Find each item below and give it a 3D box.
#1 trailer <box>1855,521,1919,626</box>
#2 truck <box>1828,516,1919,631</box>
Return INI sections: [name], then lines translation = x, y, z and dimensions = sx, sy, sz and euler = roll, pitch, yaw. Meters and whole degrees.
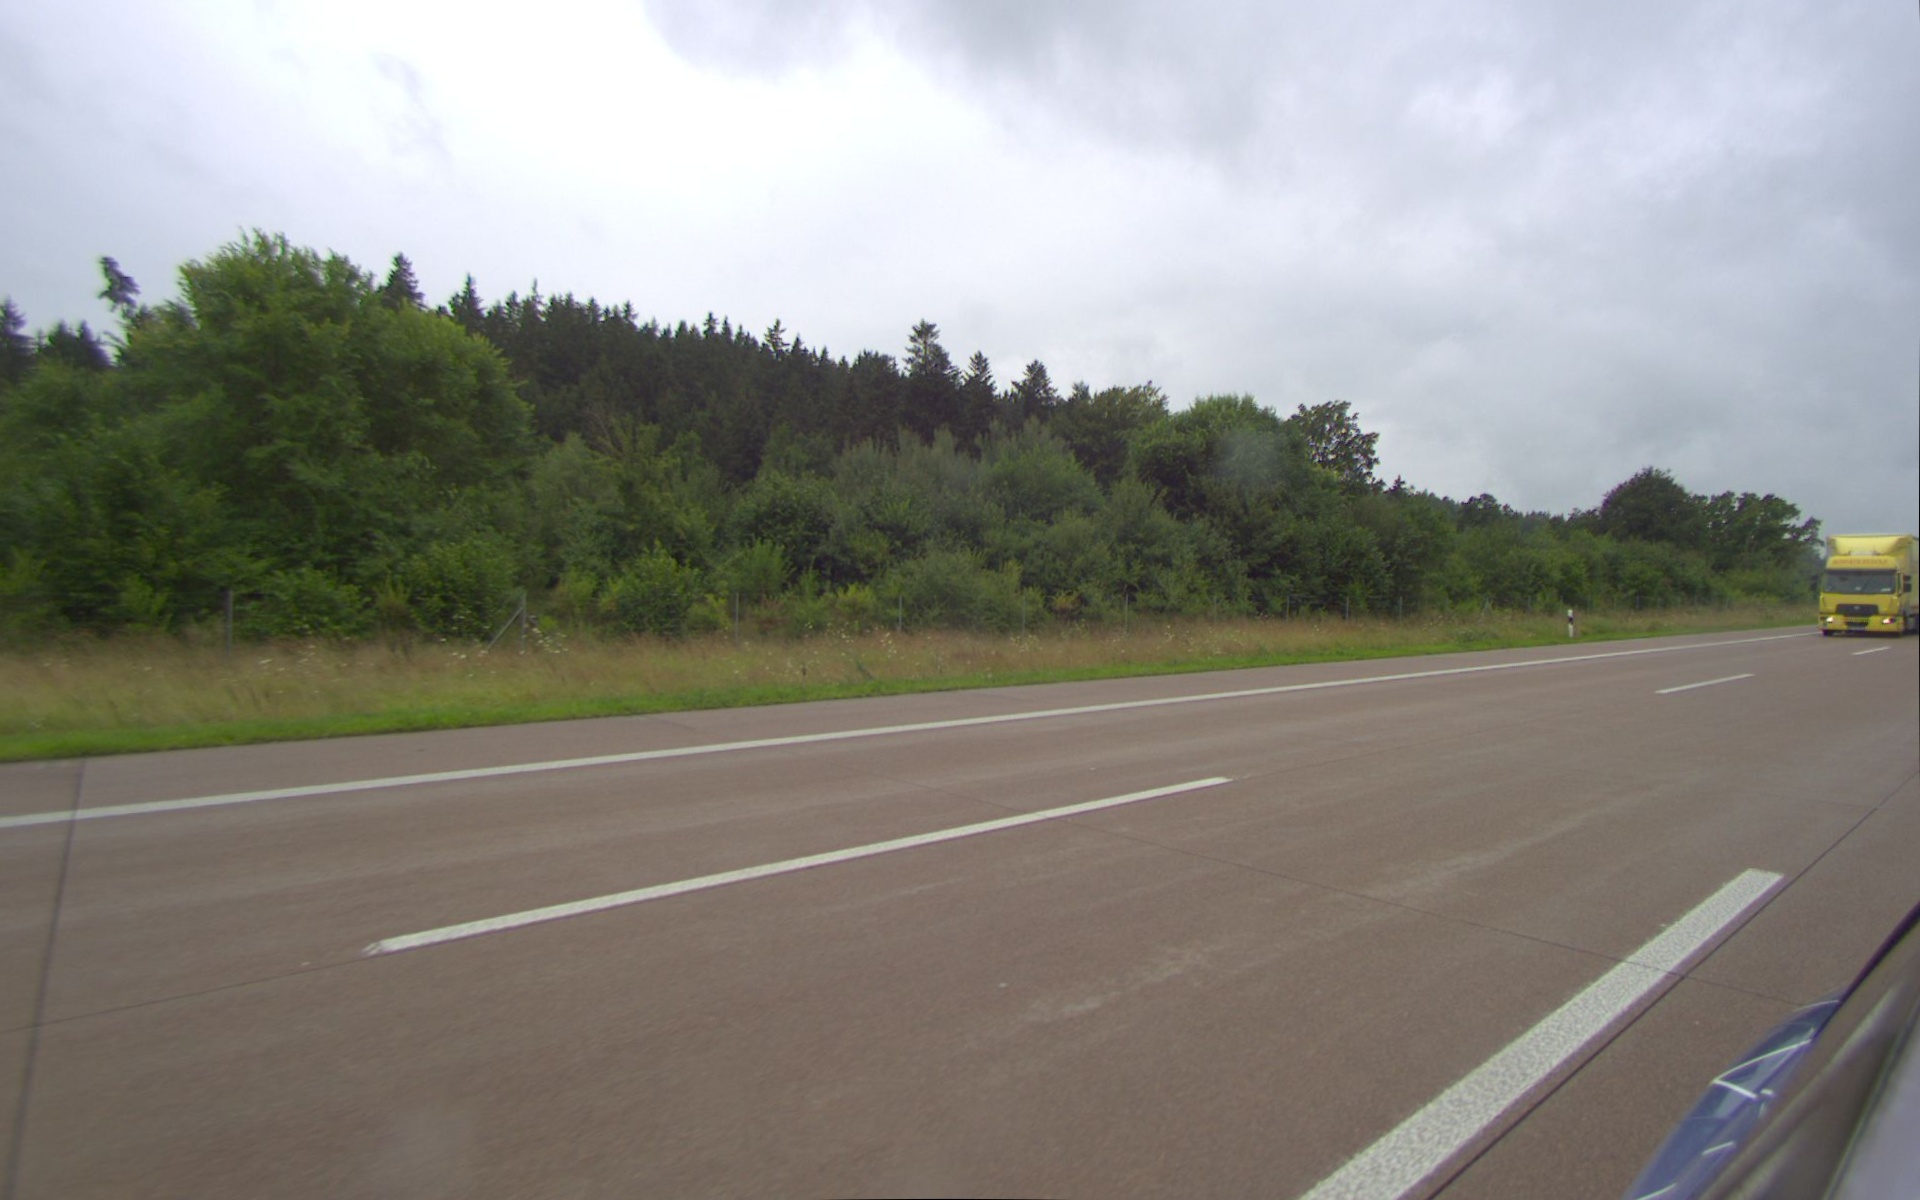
[trailer]
translation = 43.890, -1.207, 46.102
dimensions = 13.830, 4.281, 2.571
euler = -1, 1, -40
[truck]
translation = 37.064, -1.052, 40.441
dimensions = 6.139, 4.267, 2.609
euler = -1, 1, -40
